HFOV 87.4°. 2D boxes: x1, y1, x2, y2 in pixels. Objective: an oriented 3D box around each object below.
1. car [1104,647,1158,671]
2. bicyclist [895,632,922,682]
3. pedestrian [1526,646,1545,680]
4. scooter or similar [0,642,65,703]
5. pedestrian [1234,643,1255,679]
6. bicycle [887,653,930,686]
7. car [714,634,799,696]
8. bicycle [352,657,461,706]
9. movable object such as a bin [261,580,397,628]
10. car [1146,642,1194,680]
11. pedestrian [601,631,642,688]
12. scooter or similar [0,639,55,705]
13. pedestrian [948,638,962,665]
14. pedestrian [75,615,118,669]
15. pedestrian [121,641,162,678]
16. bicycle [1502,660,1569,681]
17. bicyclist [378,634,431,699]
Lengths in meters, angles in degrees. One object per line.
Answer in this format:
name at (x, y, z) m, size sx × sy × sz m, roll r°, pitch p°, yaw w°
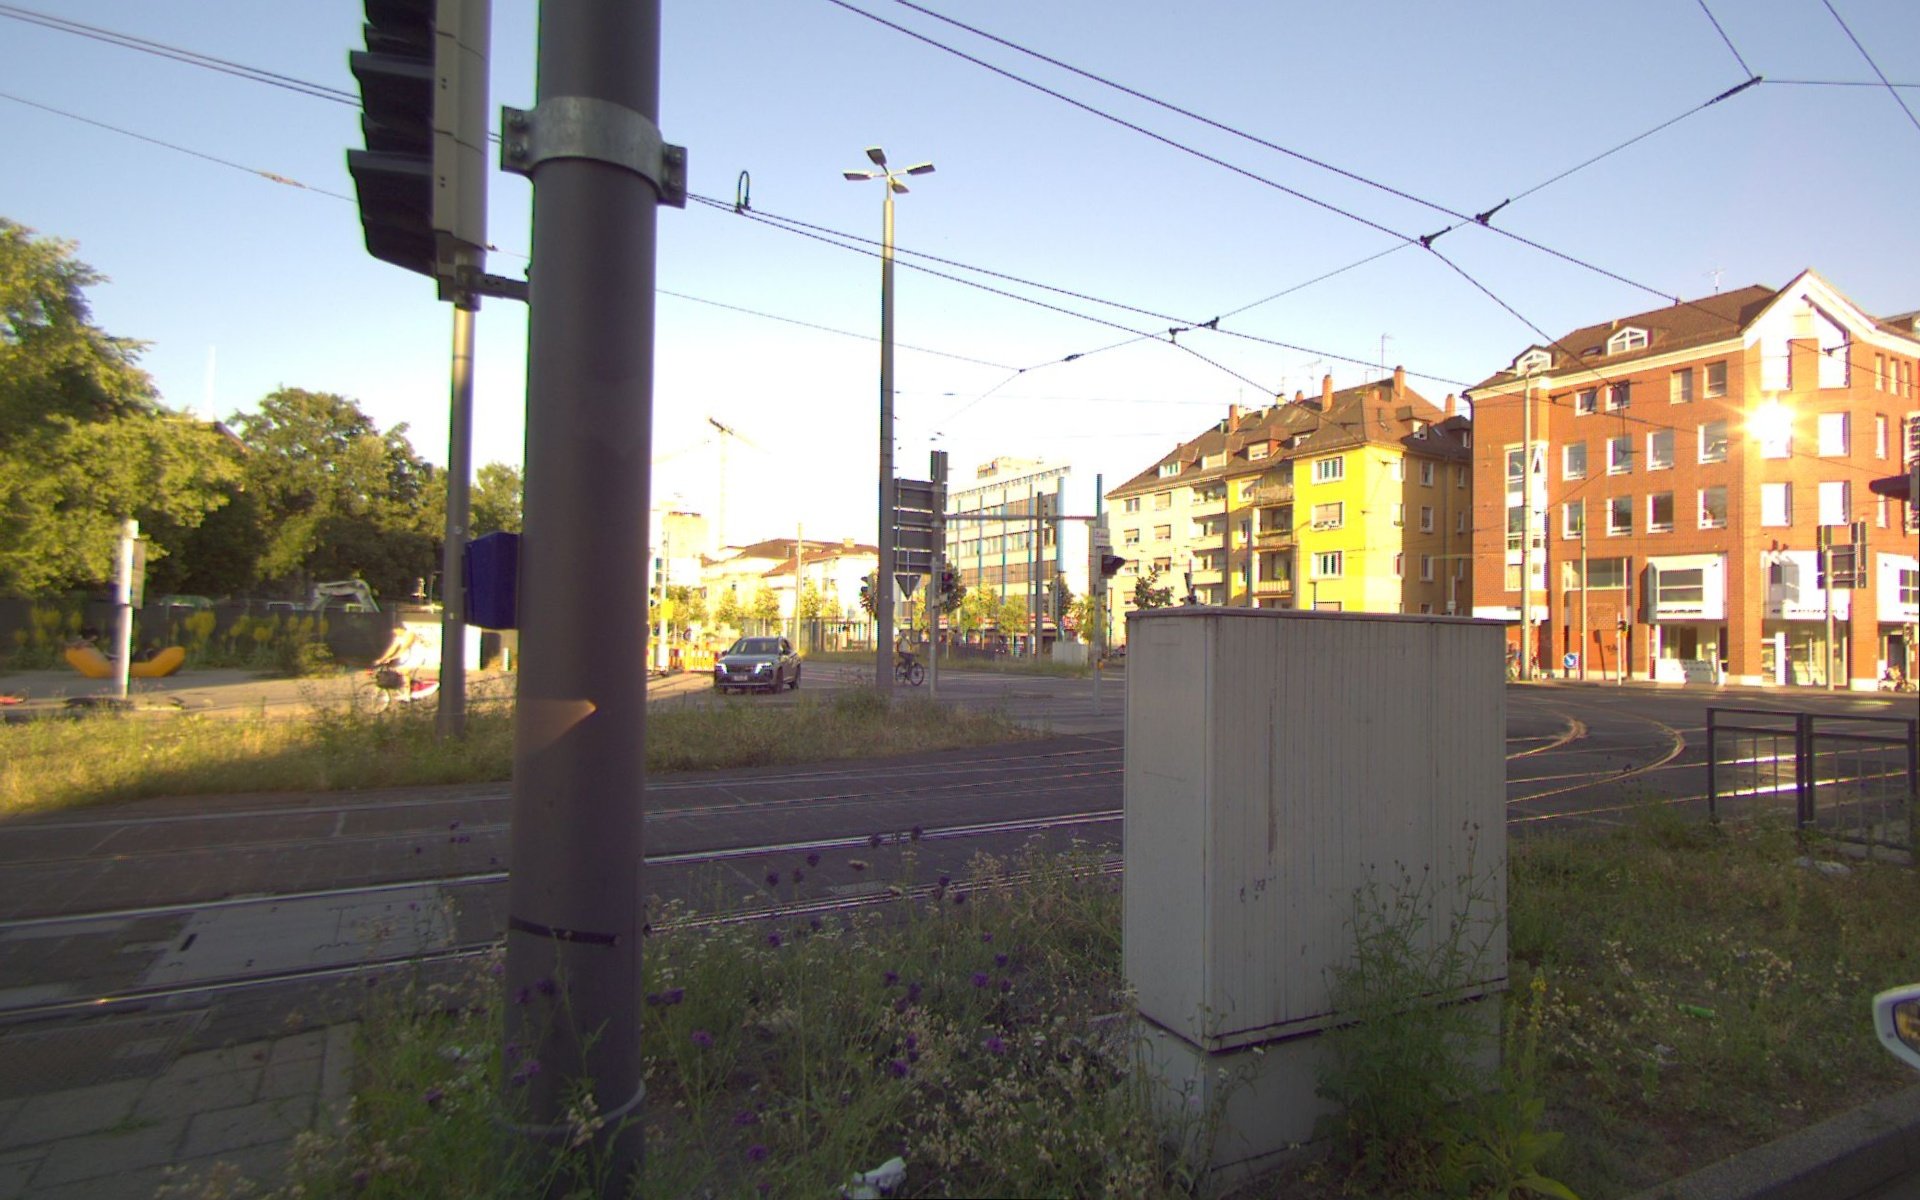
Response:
car at (14.260, 4.927, 84.127) m, size 2.096 × 1.727 × 4.313 m, roll 5°, pitch -4°, yaw -31°
bicyclist at (-1.754, 1.929, 34.089) m, size 0.590 × 1.693 × 0.741 m, roll 2°, pitch -2°, yaw -35°
pedestrian at (31.366, 3.425, 54.719) m, size 0.807 × 1.801 × 0.632 m, roll 2°, pitch -3°, yaw -36°
scooter or similar at (-18.698, 1.421, 19.883) m, size 0.452 × 1.181 × 1.405 m, roll 0°, pitch -2°, yaw 16°
pedestrian at (12.503, 2.664, 44.153) m, size 0.695 × 1.561 × 0.635 m, roll 1°, pitch -2°, yaw -13°
bicycle at (-1.762, 2.351, 34.073) m, size 0.590 × 1.036 × 1.829 m, roll 2°, pitch -3°, yaw -35°
car at (-5.986, 1.887, 30.038) m, size 1.912 × 1.682 × 4.534 m, roll 1°, pitch -2°, yaw -5°
bicycle at (-11.143, 1.621, 20.268) m, size 0.670 × 0.904 × 1.789 m, roll -1°, pitch -3°, yaw 39°
movable object such as a bin at (-28.779, 0.212, 45.926) m, size 4.924 × 2.040 × 2.001 m, roll 1°, pitch -2°, yaw 1°
car at (16.632, 4.851, 79.780) m, size 1.718 × 1.426 × 3.546 m, roll 5°, pitch -32°, yaw -28°
pedestrian at (-10.697, 1.872, 31.764) m, size 0.805 × 1.758 × 0.944 m, roll 0°, pitch -2°, yaw 19°
scooter or similar at (-19.150, 1.426, 20.006) m, size 0.452 × 1.309 × 1.654 m, roll 0°, pitch -2°, yaw 16°
pedestrian at (-0.317, 3.019, 59.022) m, size 0.558 × 1.611 × 0.686 m, roll 2°, pitch -2°, yaw -26°
pedestrian at (-27.404, 1.320, 31.891) m, size 0.753 × 1.687 × 0.818 m, roll 2°, pitch -2°, yaw -23°
pedestrian at (-26.106, 1.894, 32.047) m, size 0.725 × 1.173 × 0.985 m, roll 2°, pitch -3°, yaw -24°
bicycle at (30.863, 3.771, 53.894) m, size 0.922 × 1.030 × 3.034 m, roll 3°, pitch -3°, yaw -35°
bicyclist at (-11.180, 1.319, 20.211) m, size 0.658 × 1.274 × 0.726 m, roll -1°, pitch -2°, yaw 40°
